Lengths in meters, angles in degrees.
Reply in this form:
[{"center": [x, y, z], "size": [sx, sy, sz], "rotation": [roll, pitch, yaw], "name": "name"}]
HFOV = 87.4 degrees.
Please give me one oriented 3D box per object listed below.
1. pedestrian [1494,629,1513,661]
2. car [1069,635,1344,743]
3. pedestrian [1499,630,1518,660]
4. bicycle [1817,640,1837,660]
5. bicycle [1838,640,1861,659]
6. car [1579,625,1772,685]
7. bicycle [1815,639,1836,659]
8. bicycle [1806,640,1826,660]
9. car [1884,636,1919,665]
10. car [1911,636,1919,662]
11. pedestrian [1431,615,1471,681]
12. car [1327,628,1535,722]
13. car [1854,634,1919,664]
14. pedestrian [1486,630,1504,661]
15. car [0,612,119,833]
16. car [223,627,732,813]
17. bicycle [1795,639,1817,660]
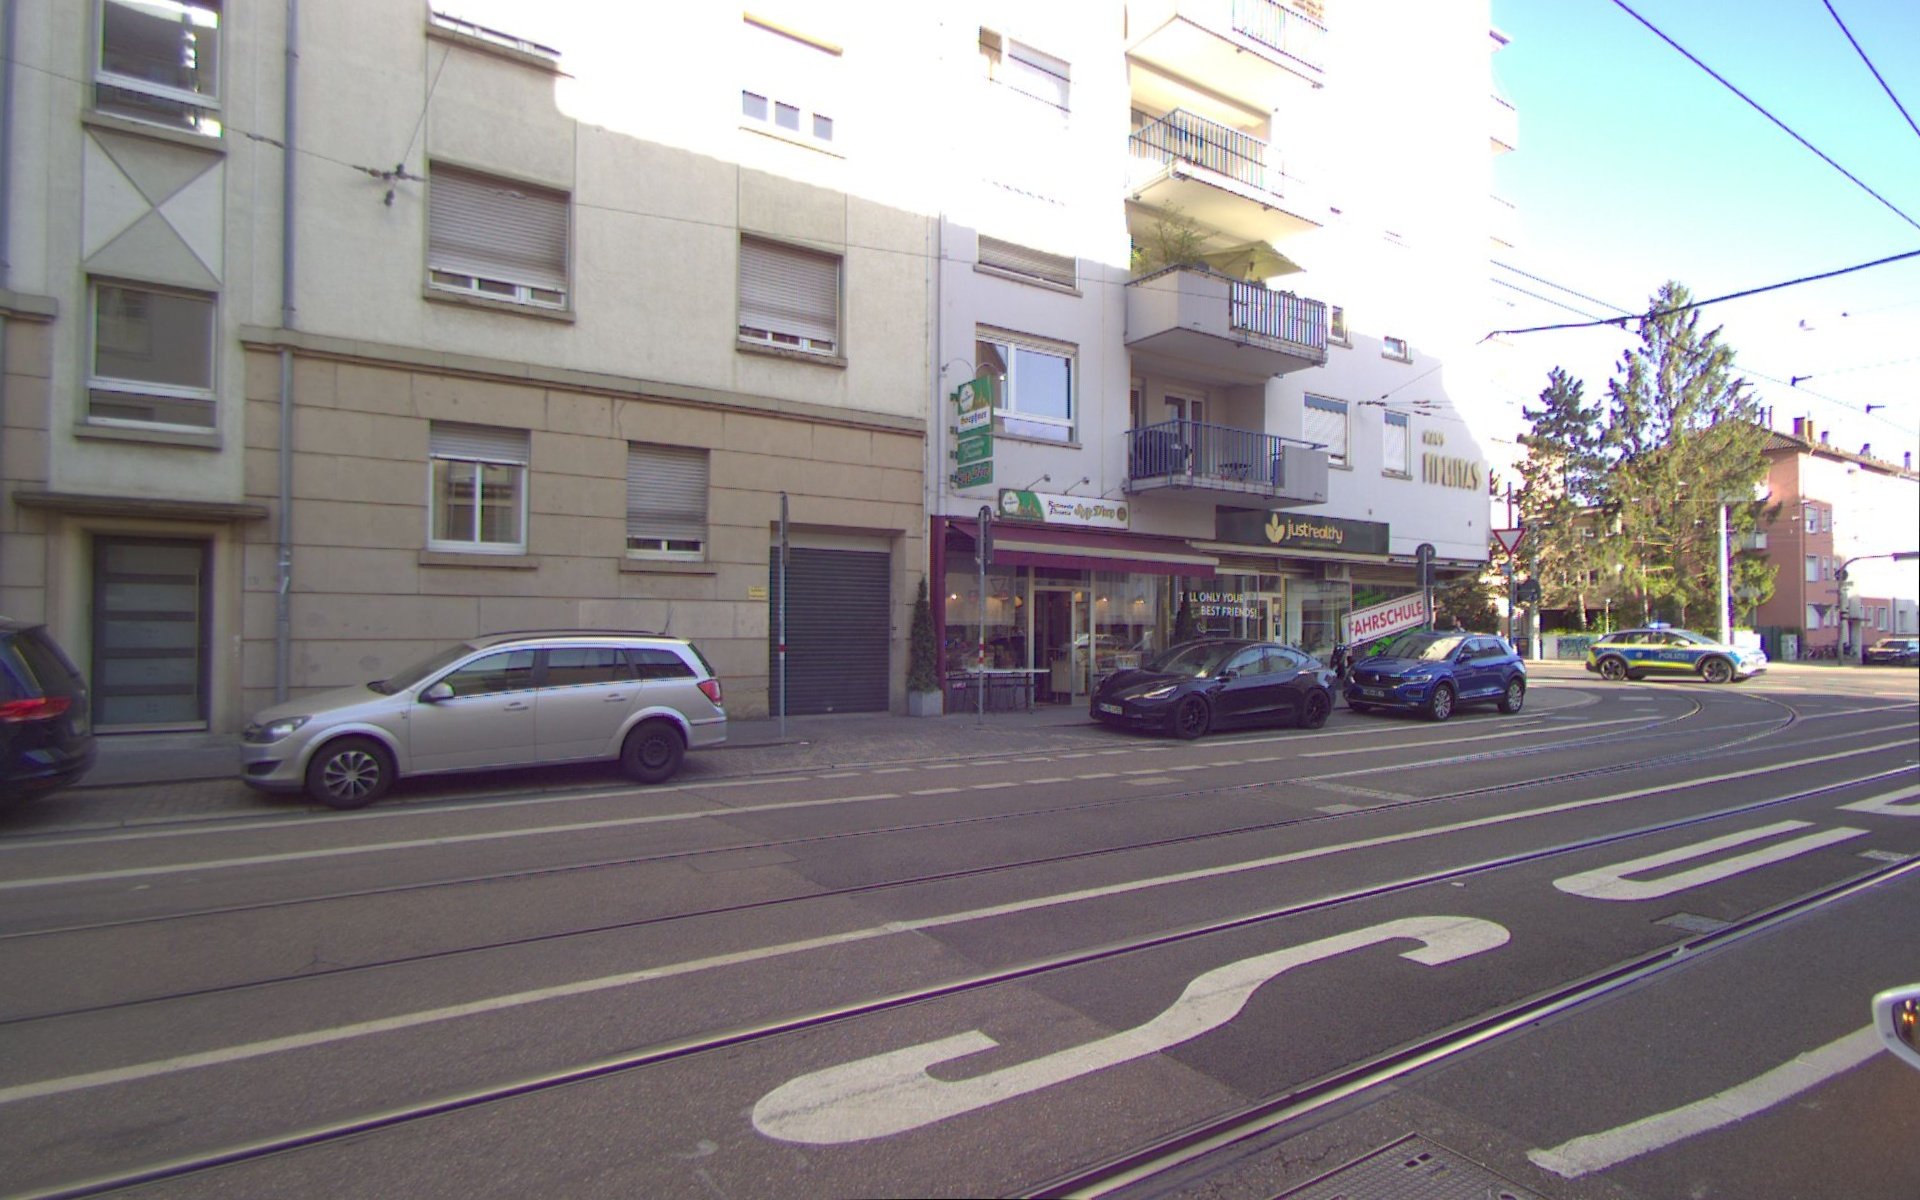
[{"center": [29.469, 2.423, 54.476], "size": [0.798, 1.725, 0.604], "rotation": [-1, -2, 37], "name": "pedestrian"}, {"center": [4.007, 1.315, 16.036], "size": [4.442, 1.422, 1.714], "rotation": [1, 1, -34], "name": "car"}, {"center": [31.474, 2.592, 57.680], "size": [0.800, 1.725, 0.676], "rotation": [-1, -2, 44], "name": "pedestrian"}, {"center": [47.602, 2.748, 55.159], "size": [1.895, 1.097, 0.532], "rotation": [2, -2, -41], "name": "bicycle"}, {"center": [53.153, 2.940, 60.019], "size": [1.892, 1.097, 0.605], "rotation": [1, -2, -37], "name": "bicycle"}, {"center": [21.788, 1.621, 30.770], "size": [1.774, 1.706, 4.507], "rotation": [1, -2, -34], "name": "car"}, {"center": [50.737, 2.862, 58.874], "size": [1.892, 1.097, 0.533], "rotation": [1, -2, -37], "name": "bicycle"}, {"center": [47.174, 2.736, 55.334], "size": [1.895, 1.097, 0.532], "rotation": [2, -2, -41], "name": "bicycle"}, {"center": [54.269, 2.841, 57.006], "size": [4.006, 1.539, 1.938], "rotation": [1, -2, -36], "name": "car"}, {"center": [58.124, 2.898, 59.445], "size": [3.961, 1.539, 1.938], "rotation": [1, -2, -36], "name": "car"}, {"center": [14.006, 1.353, 28.666], "size": [0.707, 1.859, 0.771], "rotation": [0, -1, -3], "name": "pedestrian"}, {"center": [8.986, 1.345, 19.078], "size": [4.072, 1.525, 1.714], "rotation": [1, 1, -34], "name": "car"}, {"center": [49.721, 2.617, 53.776], "size": [3.961, 1.539, 1.938], "rotation": [1, -2, -36], "name": "car"}, {"center": [29.452, 2.504, 55.312], "size": [0.798, 1.725, 0.632], "rotation": [-1, -2, 37], "name": "pedestrian"}, {"center": [-9.000, 0.880, 7.186], "size": [4.343, 1.620, 1.785], "rotation": [1, -1, -34], "name": "car"}, {"center": [-4.713, 1.049, 10.208], "size": [4.343, 1.497, 1.785], "rotation": [1, -1, -34], "name": "car"}, {"center": [46.878, 2.726, 55.626], "size": [1.895, 1.097, 0.634], "rotation": [2, -2, -41], "name": "bicycle"}]
